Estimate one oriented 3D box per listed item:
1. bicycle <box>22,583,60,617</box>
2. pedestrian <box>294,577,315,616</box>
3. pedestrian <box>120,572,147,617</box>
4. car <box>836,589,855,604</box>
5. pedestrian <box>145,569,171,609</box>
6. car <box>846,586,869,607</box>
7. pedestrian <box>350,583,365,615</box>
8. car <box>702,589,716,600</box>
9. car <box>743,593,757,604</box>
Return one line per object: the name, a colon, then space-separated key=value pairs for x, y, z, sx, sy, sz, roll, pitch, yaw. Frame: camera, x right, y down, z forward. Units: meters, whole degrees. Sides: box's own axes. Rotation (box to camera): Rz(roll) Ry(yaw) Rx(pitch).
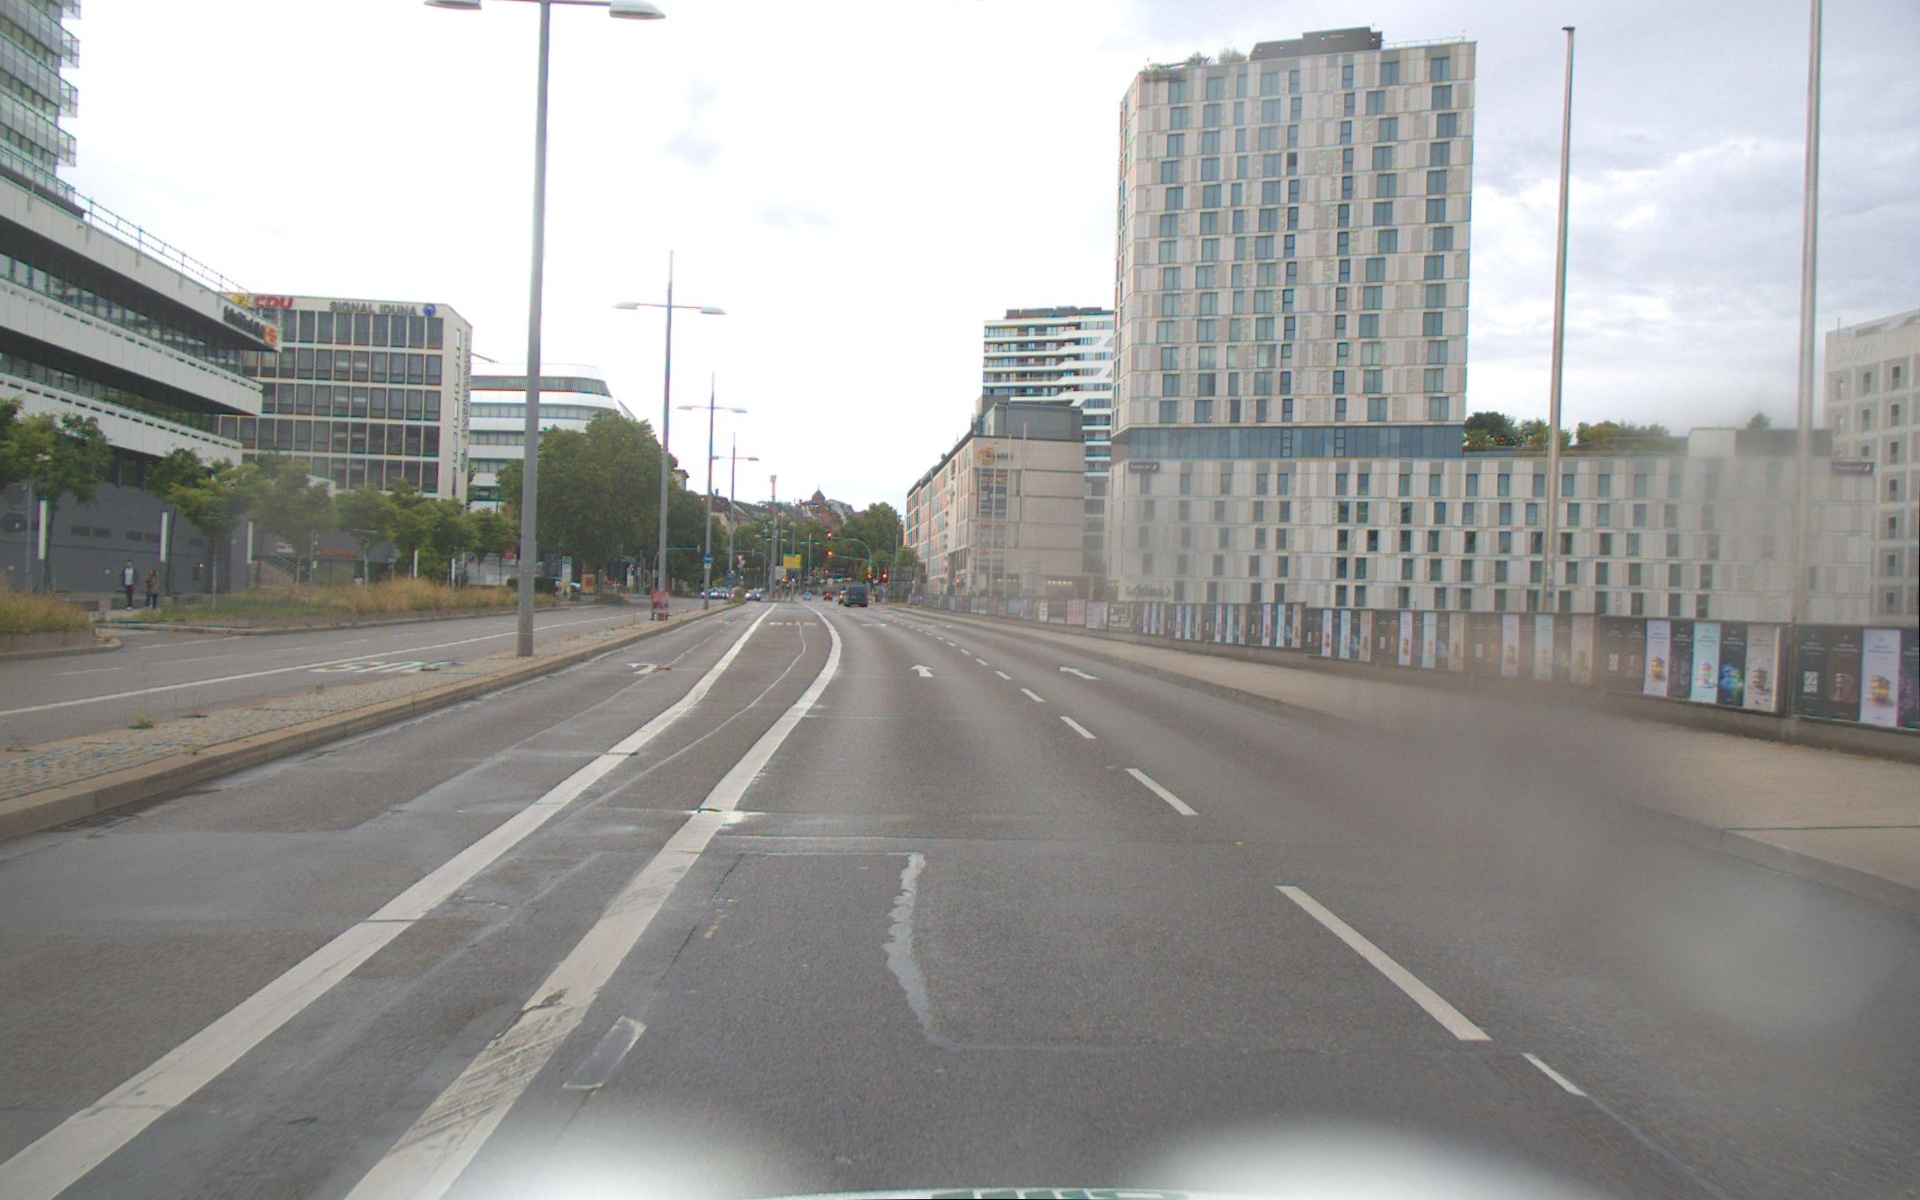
bicycle: x=-24.355 y=0.012 z=43.829 sx=0.603 sy=0.872 sz=1.634 roll=1 pitch=-1 yaw=-39
pedestrian: x=-31.462 y=-0.153 z=79.409 sx=0.769 sy=1.839 sz=0.628 roll=1 pitch=-1 yaw=-6
pedestrian: x=-31.114 y=-0.199 z=62.298 sx=0.605 sy=1.687 sz=0.797 roll=-2 pitch=-1 yaw=-4
car: x=-12.411 y=-0.392 z=179.858 sx=1.708 sy=1.558 sz=3.805 roll=1 pitch=-1 yaw=-9
pedestrian: x=-30.245 y=-0.409 z=62.349 sx=0.605 sy=1.471 sz=0.797 roll=1 pitch=-1 yaw=-4
car: x=-9.629 y=-0.357 z=155.303 sx=1.993 sy=1.915 sz=5.036 roll=-2 pitch=1 yaw=-5
pedestrian: x=-34.251 y=-0.063 z=93.984 sx=0.617 sy=1.839 sz=0.628 roll=1 pitch=-1 yaw=-6
car: x=-34.047 y=-0.774 z=224.308 sx=1.709 sy=1.352 sz=4.220 roll=1 pitch=-1 yaw=-6
car: x=-28.476 y=-0.198 z=224.338 sx=1.709 sy=1.470 sz=3.390 roll=1 pitch=-1 yaw=-6
